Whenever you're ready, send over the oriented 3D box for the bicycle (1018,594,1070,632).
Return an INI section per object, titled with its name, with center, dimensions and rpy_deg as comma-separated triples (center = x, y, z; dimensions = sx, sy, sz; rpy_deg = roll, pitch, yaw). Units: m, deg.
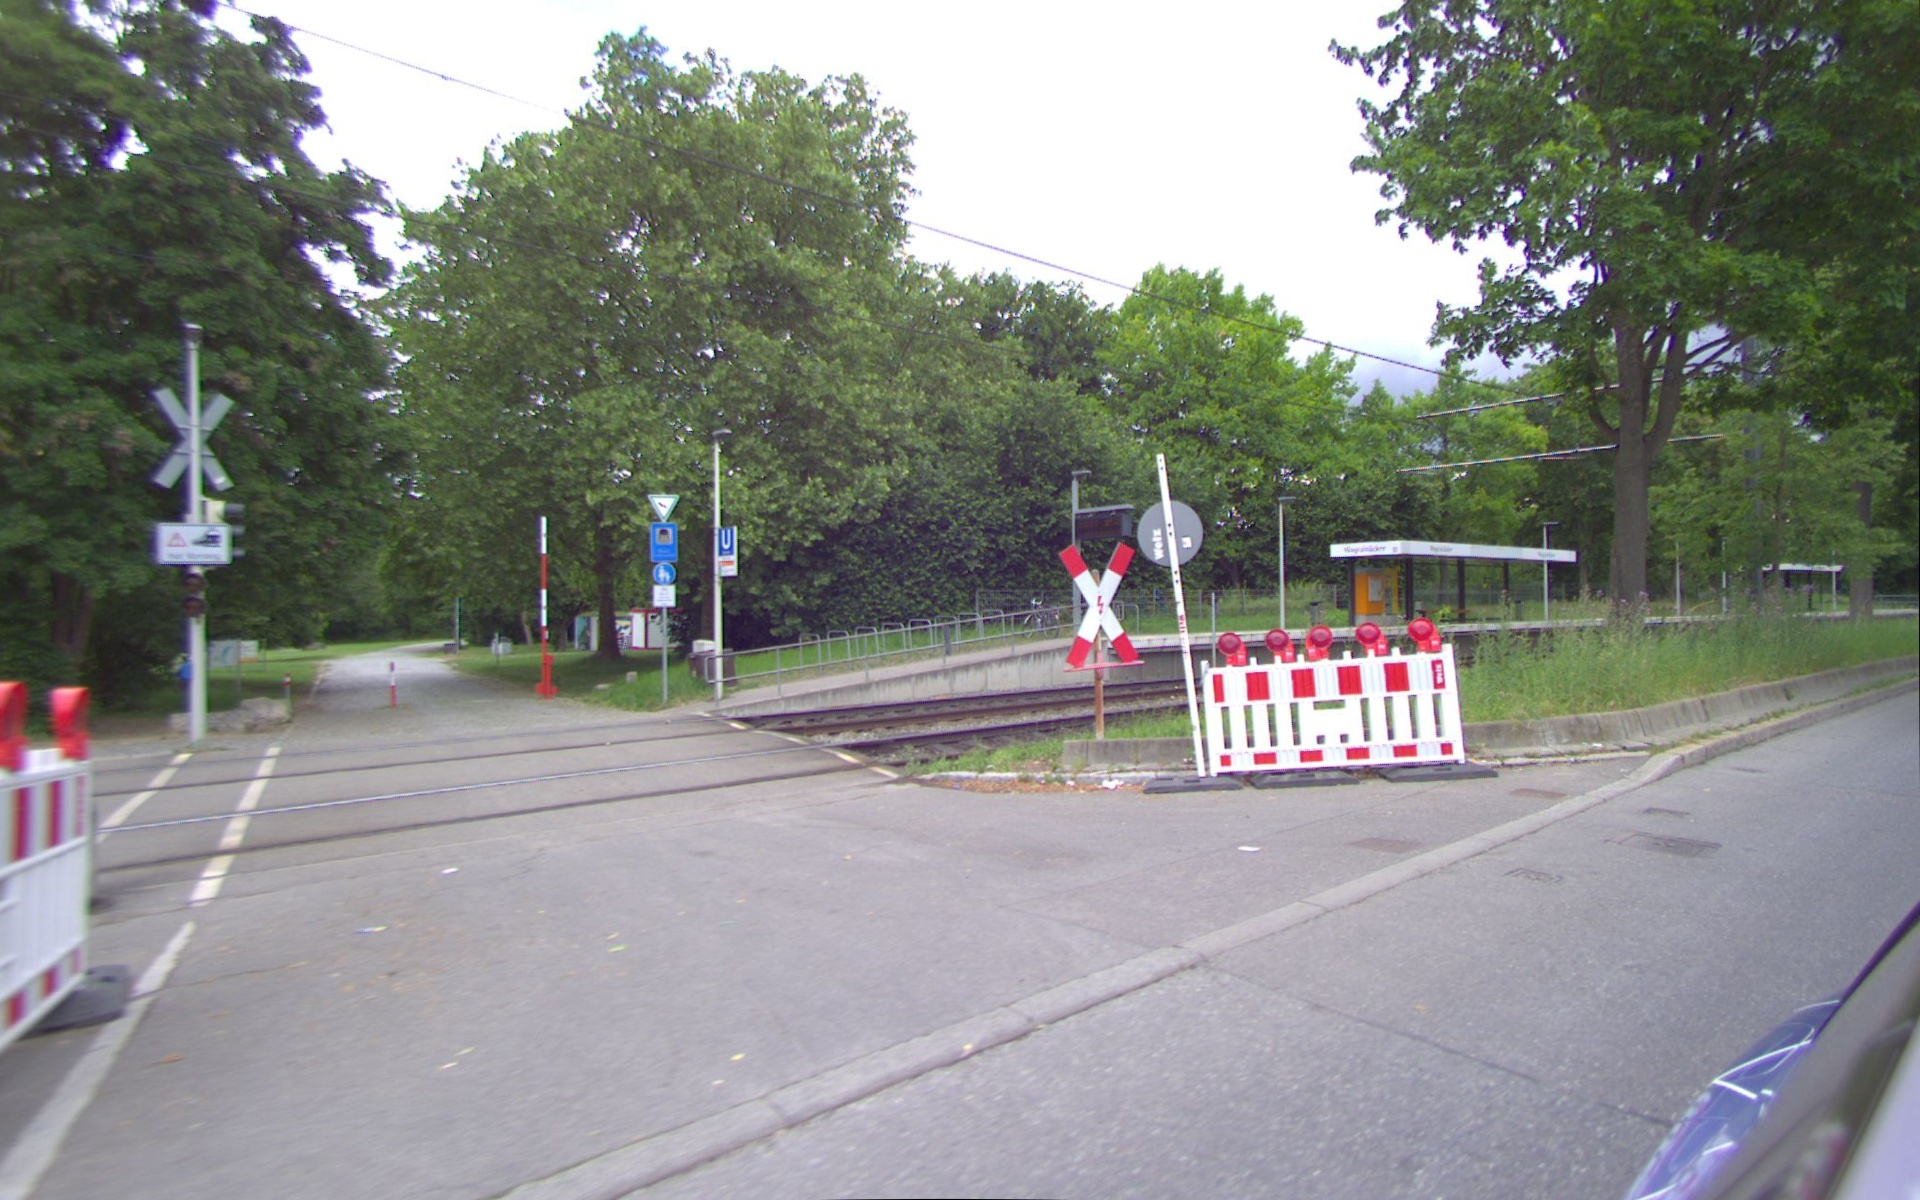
[bicycle]
center = 2.234, 0.349, 27.022
dimensions = 0.442, 0.986, 1.511
rpy_deg = 0, -2, -39
